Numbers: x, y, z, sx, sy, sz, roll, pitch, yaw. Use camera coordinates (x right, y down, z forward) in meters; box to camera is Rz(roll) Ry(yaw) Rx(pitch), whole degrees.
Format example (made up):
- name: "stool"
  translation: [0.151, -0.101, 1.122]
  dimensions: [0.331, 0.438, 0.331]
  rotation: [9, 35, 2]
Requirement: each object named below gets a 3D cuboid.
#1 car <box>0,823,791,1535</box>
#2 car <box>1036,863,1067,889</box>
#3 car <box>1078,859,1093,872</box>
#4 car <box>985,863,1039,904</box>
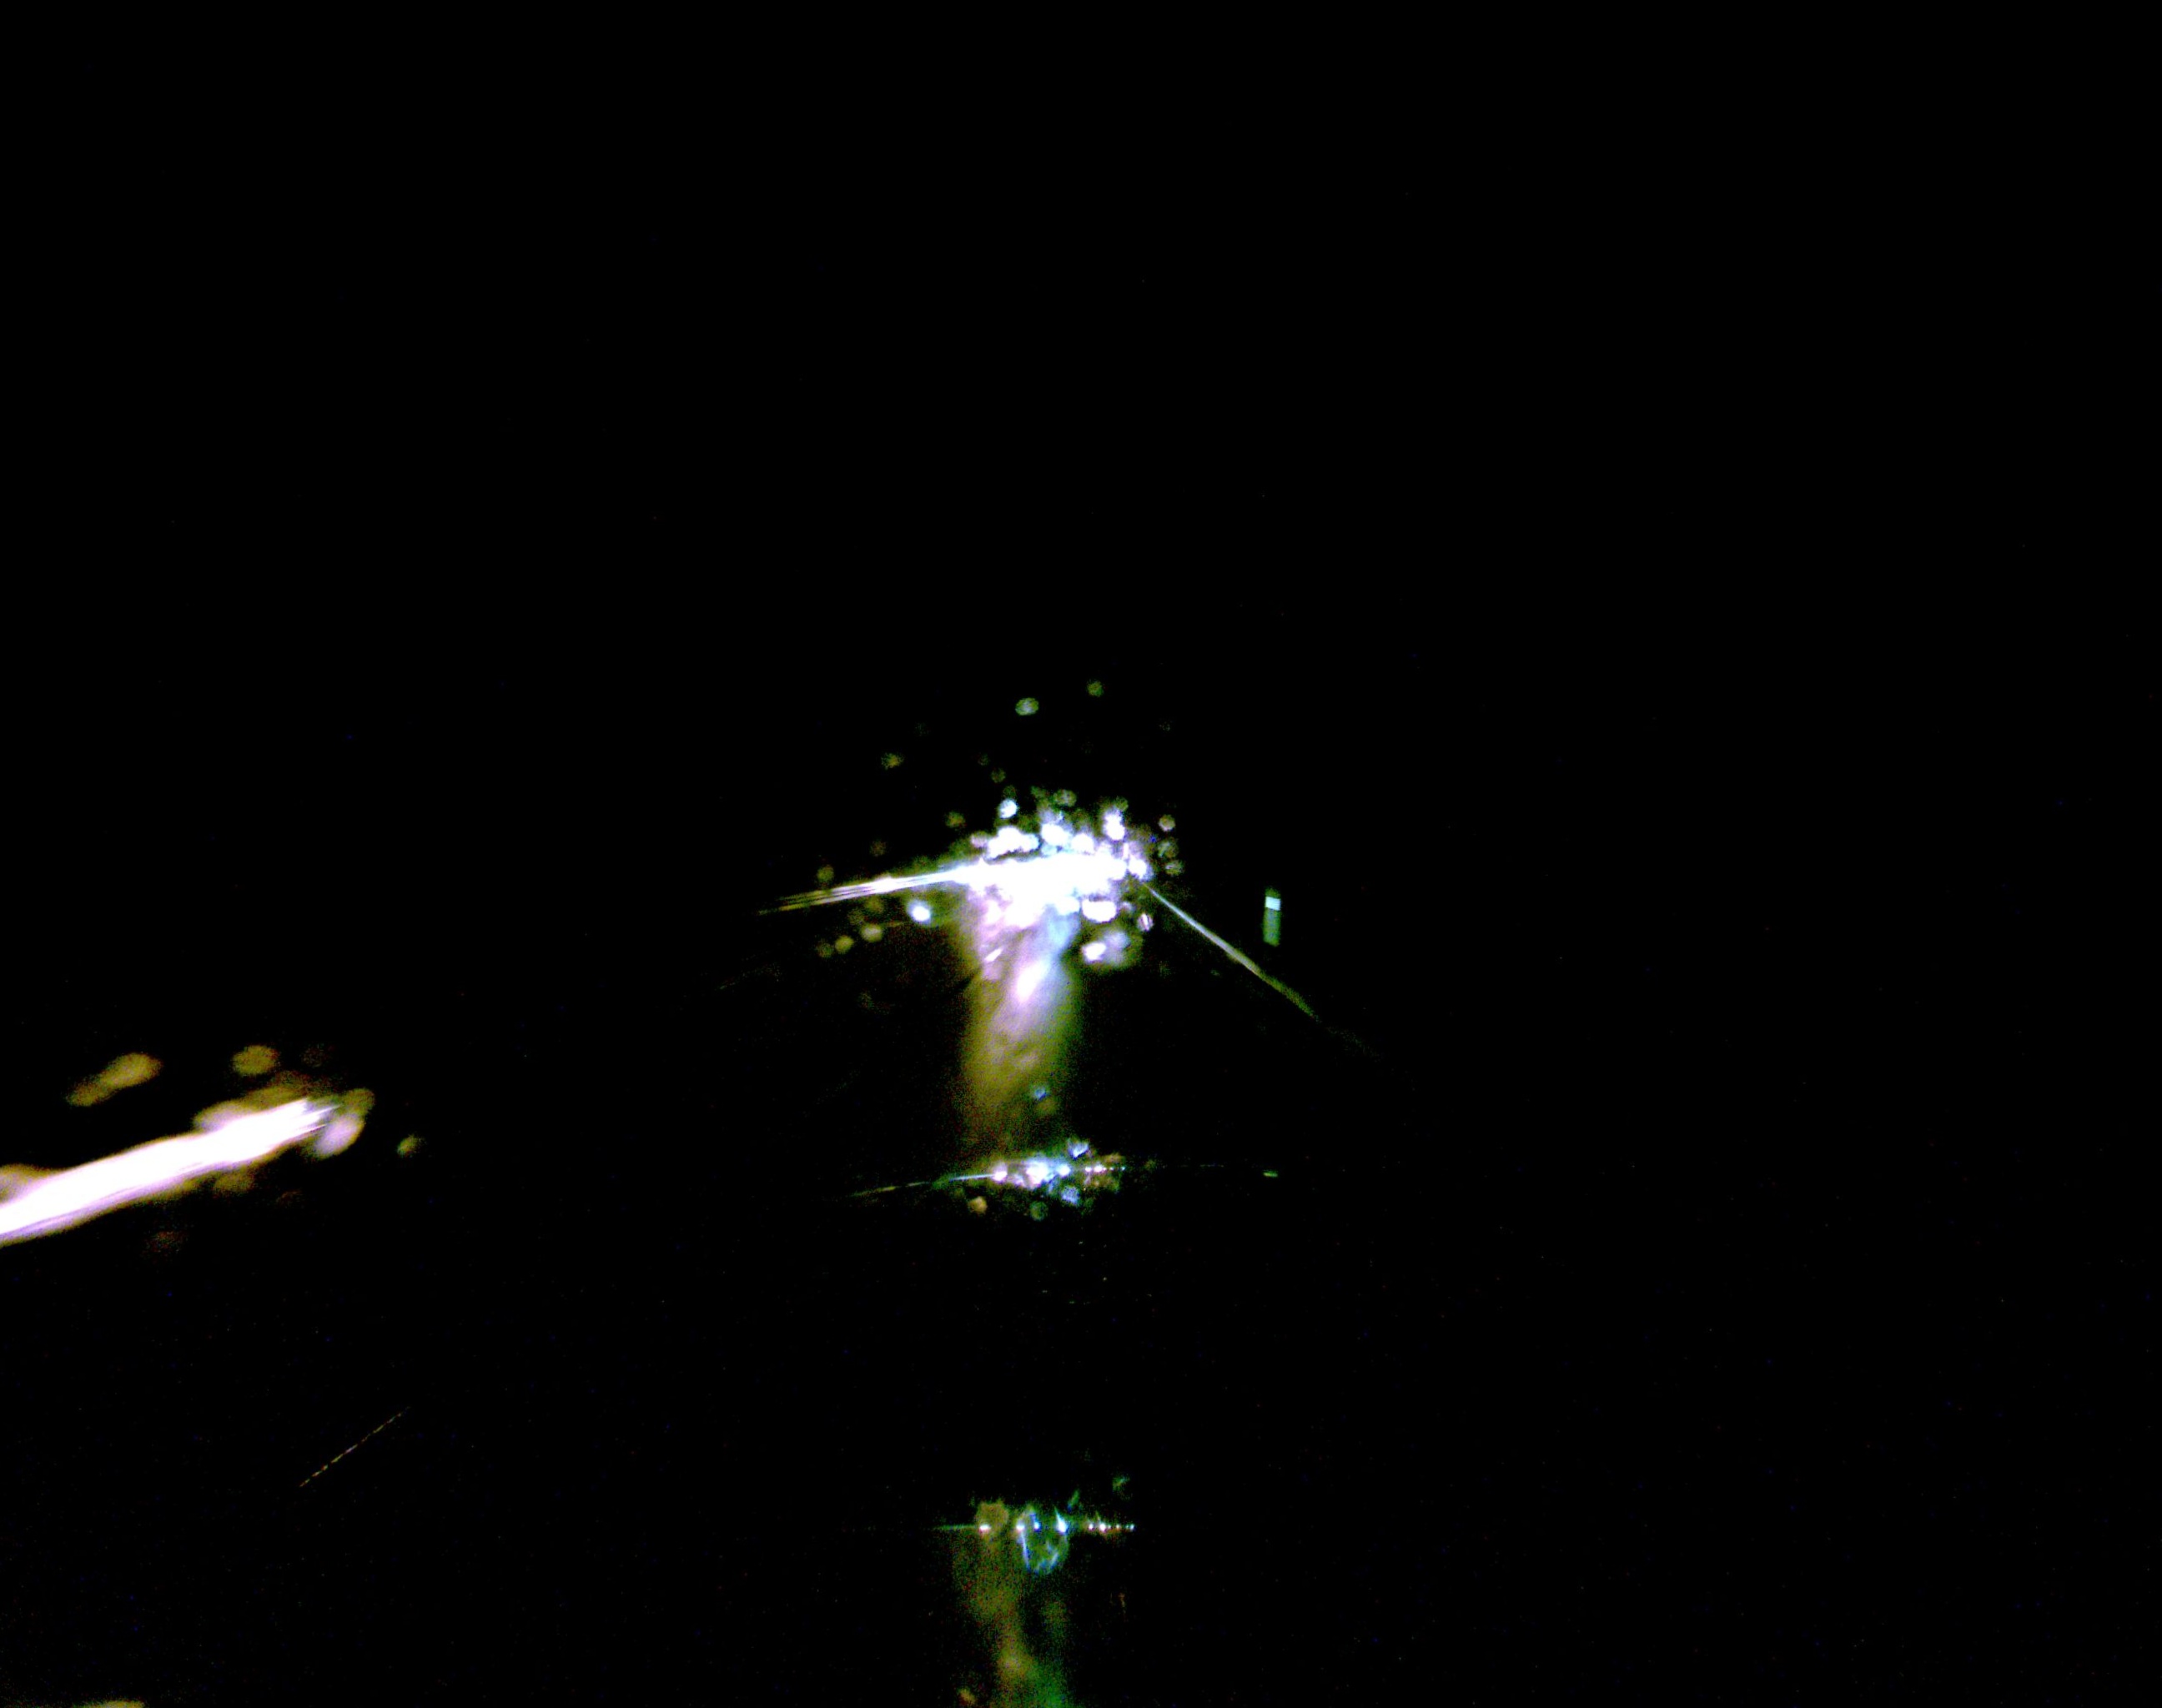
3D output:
- name: "car"
  translation: [-3.257, 0.721, 4.110]
  dimensions: [1.802, 1.600, 4.633]
  rotation: [0, 0, 2]
- name: "car"
  translation: [-1.717, 1.261, 48.477]
  dimensions: [1.639, 1.425, 4.123]
  rotation: [2, 0, 0]
- name: "car"
  translation: [0.608, 1.407, 101.546]
  dimensions: [1.710, 1.517, 3.879]
  rotation: [-1, 0, 2]
- name: "car"
  translation: [-2.552, 1.071, 30.859]
  dimensions: [1.639, 1.425, 3.659]
  rotation: [-1, 0, 1]
